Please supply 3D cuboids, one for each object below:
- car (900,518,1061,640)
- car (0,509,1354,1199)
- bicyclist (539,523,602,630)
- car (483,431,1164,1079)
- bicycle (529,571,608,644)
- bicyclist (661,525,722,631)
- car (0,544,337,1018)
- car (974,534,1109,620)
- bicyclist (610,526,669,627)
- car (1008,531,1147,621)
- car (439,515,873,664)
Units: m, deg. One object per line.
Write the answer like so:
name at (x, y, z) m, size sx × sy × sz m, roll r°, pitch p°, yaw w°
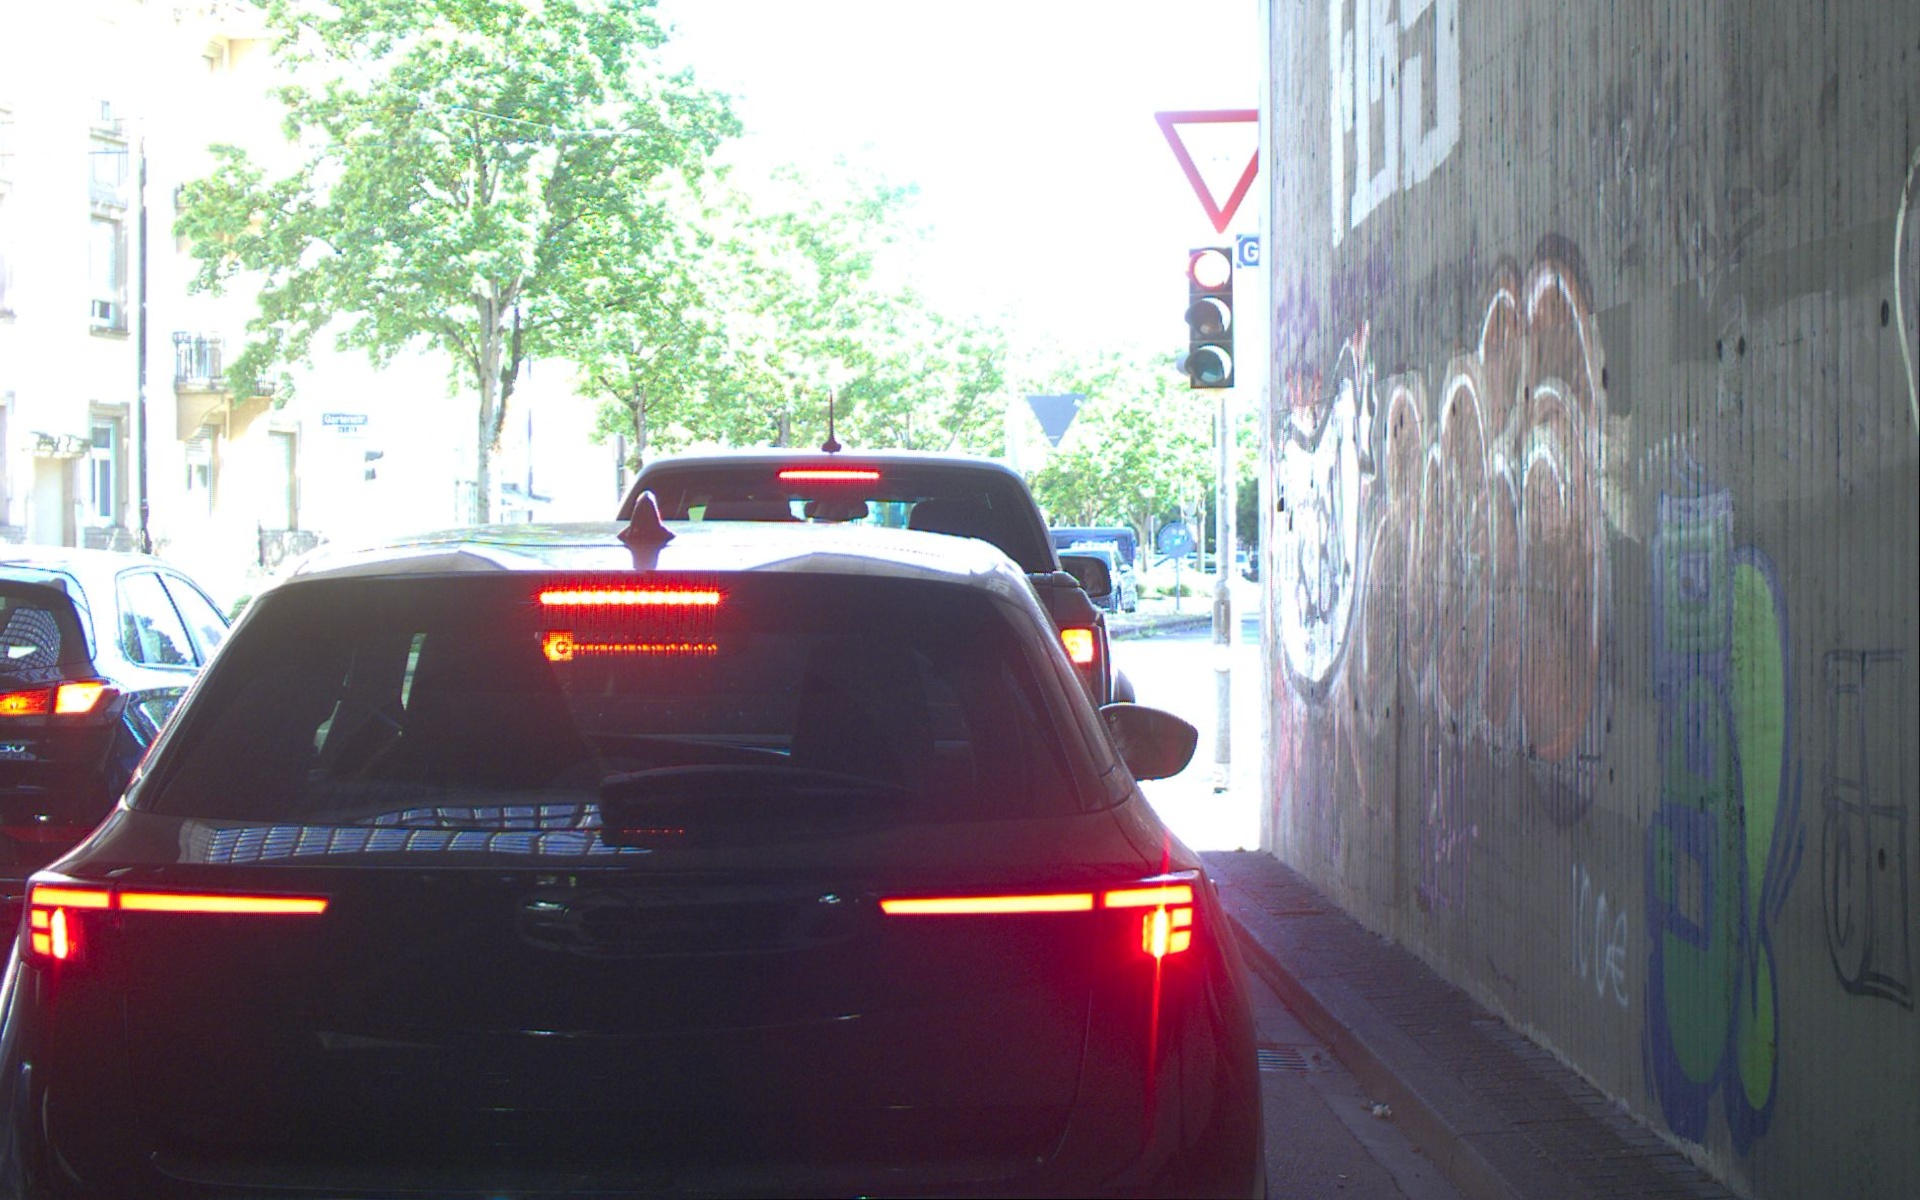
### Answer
car at (0.300, -0.237, 44.175) m, size 1.968 × 1.492 × 3.896 m, roll 0°, pitch -1°, yaw 1°
car at (-0.494, 0.628, 6.072) m, size 1.882 × 1.532 × 3.964 m, roll 0°, pitch 1°, yaw -1°
bicyclist at (-5.837, -0.356, 51.544) m, size 0.729 × 1.576 × 0.814 m, roll 1°, pitch 0°, yaw 9°
car at (-0.414, 0.410, 11.894) m, size 1.945 × 1.853 × 3.964 m, roll 0°, pitch 1°, yaw -1°
bicycle at (-5.855, 0.100, 51.518) m, size 0.732 × 1.064 × 1.688 m, roll 1°, pitch 1°, yaw 9°
bicyclist at (-4.060, -0.336, 52.078) m, size 0.729 × 1.576 × 0.814 m, roll 1°, pitch 0°, yaw 9°
car at (-3.520, 0.528, 12.735) m, size 1.779 × 1.442 × 4.179 m, roll 1°, pitch 1°, yaw -2°
car at (1.509, -0.389, 62.197) m, size 1.969 × 1.492 × 3.895 m, roll 0°, pitch -1°, yaw 9°
bicyclist at (-5.065, -0.369, 54.383) m, size 0.729 × 1.576 × 0.814 m, roll 1°, pitch 0°, yaw 9°
car at (2.395, -0.445, 69.007) m, size 2.221 × 1.713 × 4.458 m, roll 0°, pitch -1°, yaw 10°
car at (-3.219, -0.125, 36.911) m, size 4.386 × 1.546 × 1.882 m, roll 0°, pitch 1°, yaw 5°
